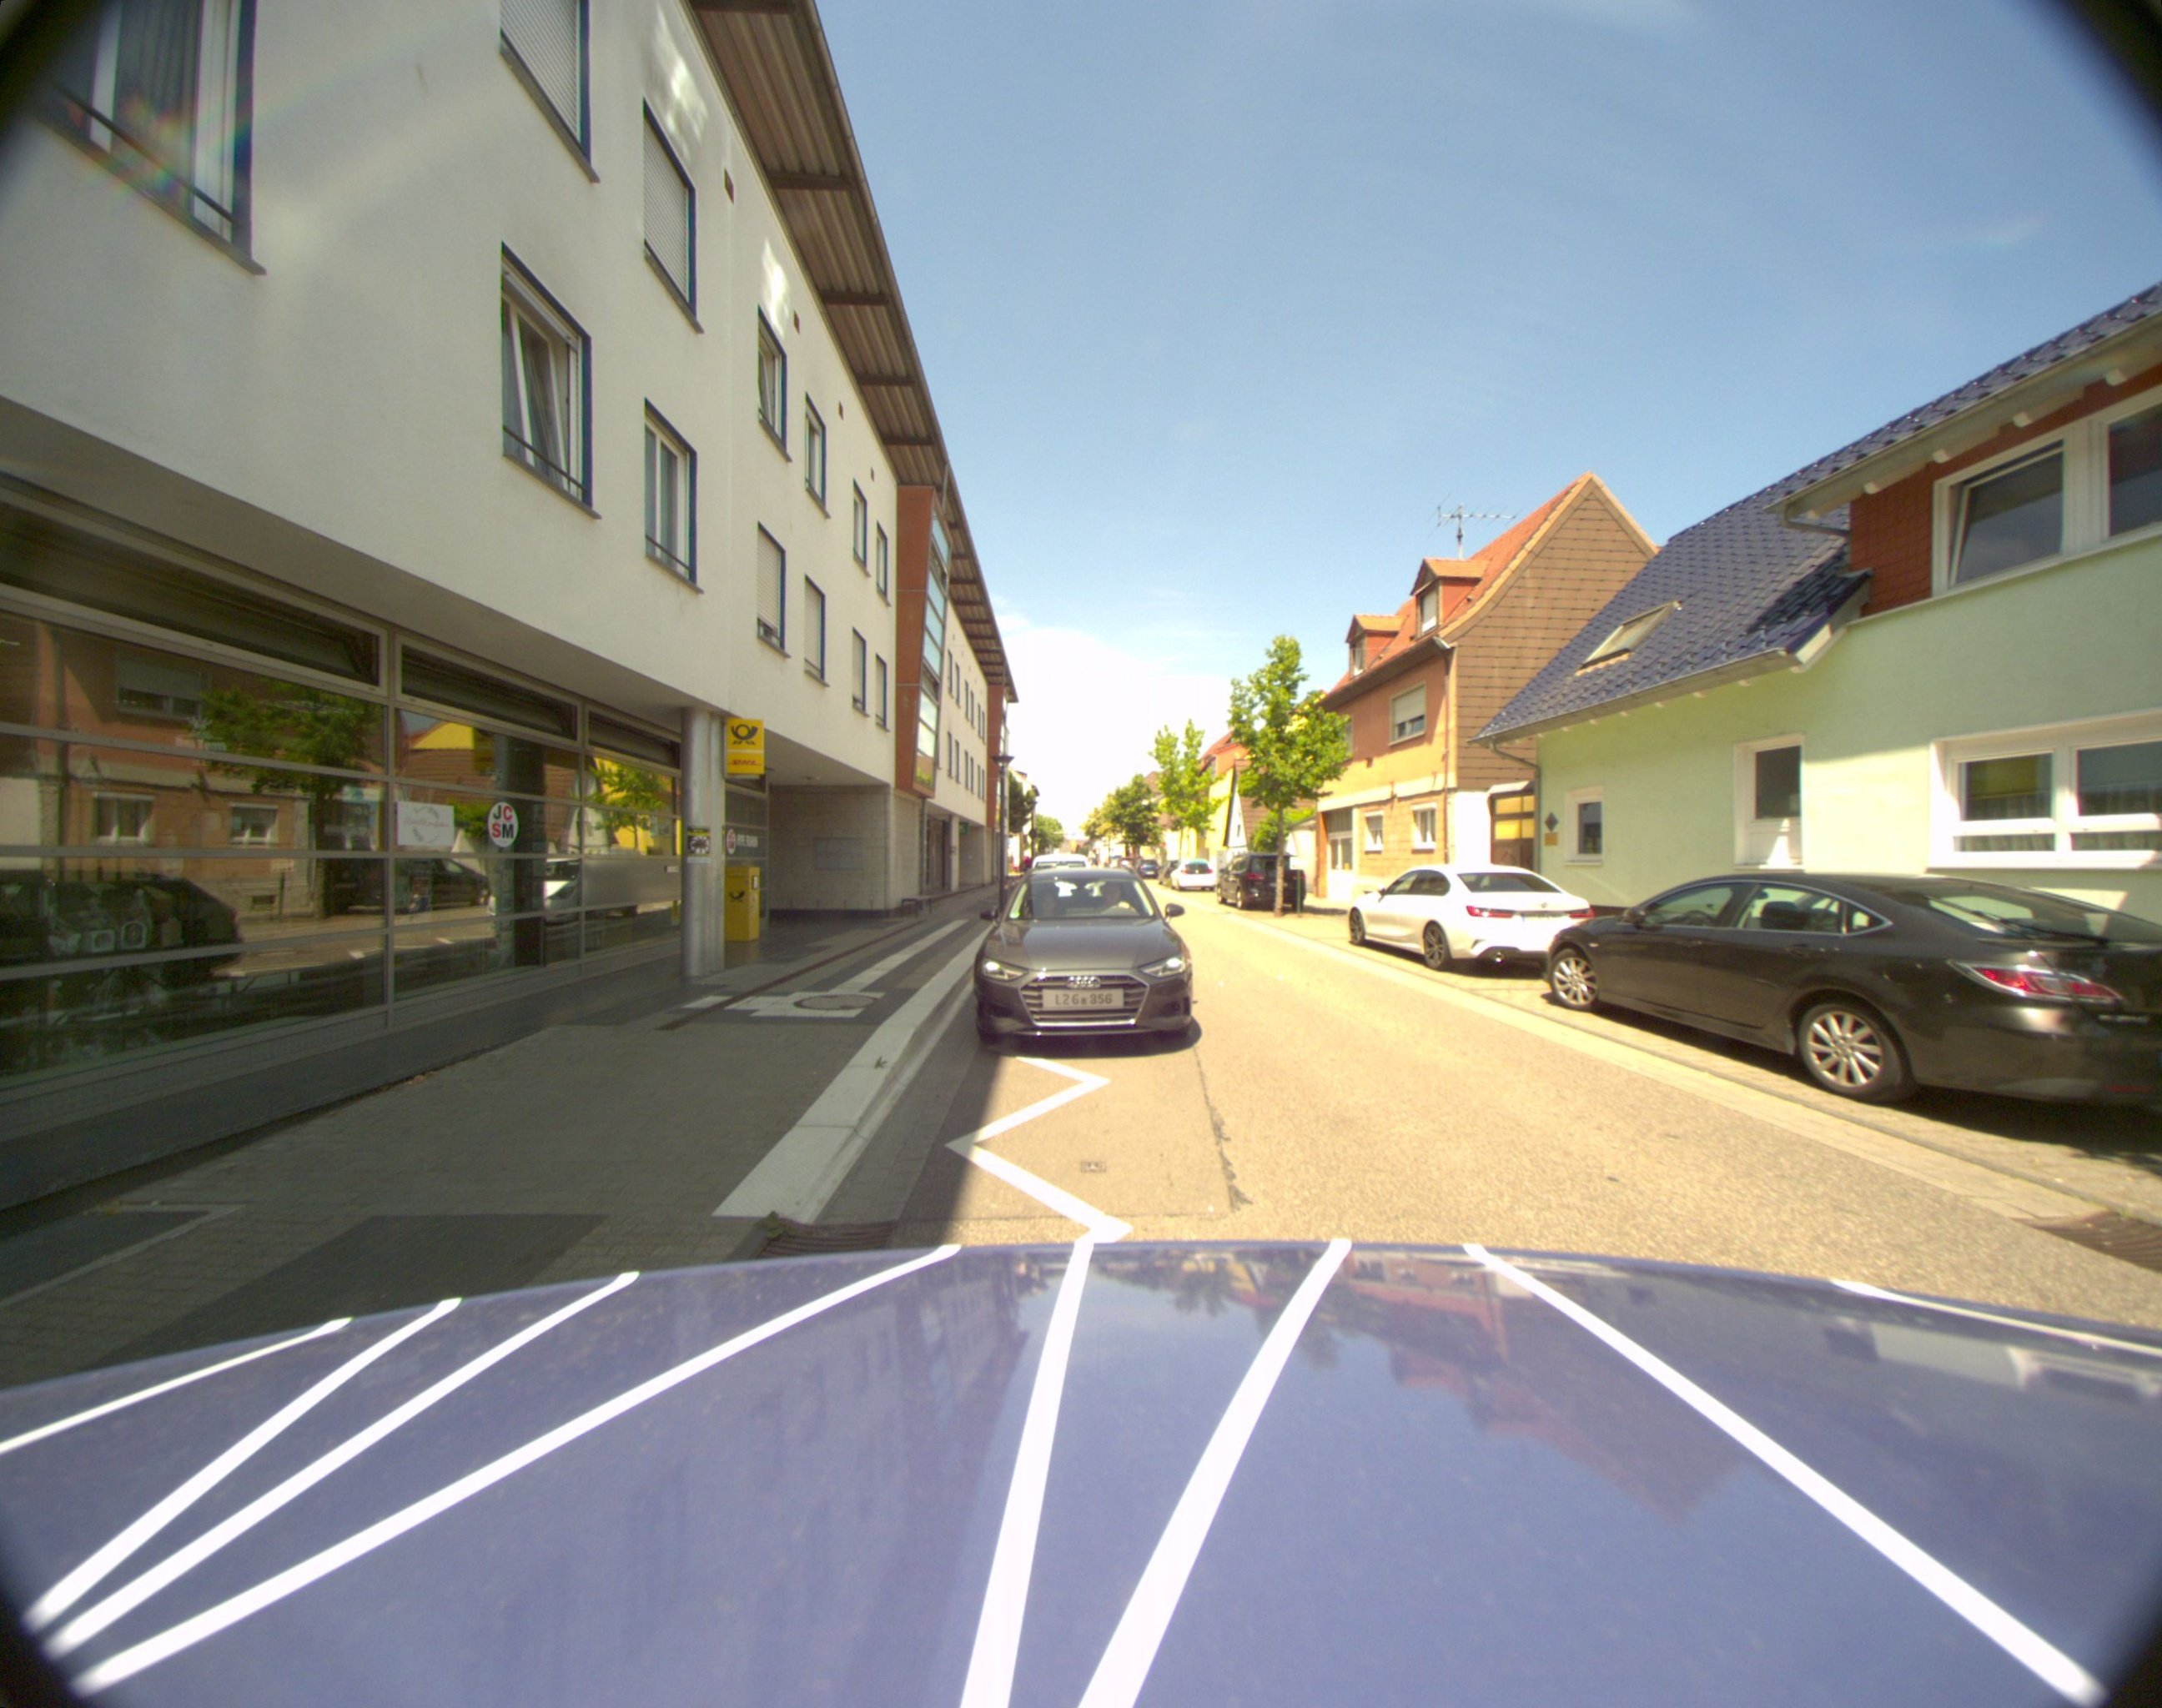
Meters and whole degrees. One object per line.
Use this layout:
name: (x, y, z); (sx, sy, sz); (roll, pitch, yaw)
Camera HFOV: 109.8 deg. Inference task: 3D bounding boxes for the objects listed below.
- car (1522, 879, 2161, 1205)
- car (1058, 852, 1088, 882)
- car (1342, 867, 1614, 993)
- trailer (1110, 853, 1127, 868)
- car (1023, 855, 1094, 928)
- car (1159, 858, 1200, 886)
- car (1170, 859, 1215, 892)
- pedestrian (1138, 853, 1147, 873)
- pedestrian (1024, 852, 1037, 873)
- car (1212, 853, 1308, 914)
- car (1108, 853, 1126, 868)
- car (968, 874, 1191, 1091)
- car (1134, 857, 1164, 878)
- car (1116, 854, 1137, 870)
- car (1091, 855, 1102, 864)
car: (5.618, 0.988, 5.958); (1.665, 1.428, 4.538); (0, 0, 0)
car: (-0.476, 0.710, 42.776); (1.581, 1.620, 4.064); (1, 0, -1)
car: (5.563, 0.956, 11.418); (1.724, 1.428, 4.459); (1, 0, 0)
trailer: (4.258, 0.756, 86.153); (1.493, 1.571, 3.882); (-3, 0, -3)
car: (-0.544, 0.844, 19.074); (1.581, 1.620, 4.064); (1, 0, -1)
car: (5.320, 0.944, 41.420); (1.649, 1.422, 4.098); (1, 0, -1)
car: (5.130, 0.959, 35.276); (1.558, 1.422, 3.409); (0, 0, -1)
pedestrian: (5.033, 0.730, 62.240); (0.631, 1.592, 0.528); (0, 1, -1)
pedestrian: (-3.868, 0.640, 58.432); (0.826, 1.579, 0.919); (3, 0, -1)
car: (5.397, 0.824, 23.467); (1.780, 1.716, 4.519); (0, 0, -1)
car: (4.247, 0.759, 90.525); (1.695, 1.742, 3.999); (-2, 0, -3)
car: (-0.051, 0.988, 7.566); (1.581, 1.424, 4.064); (-2, 0, -1)
car: (4.804, 0.917, 54.207); (1.660, 1.399, 4.157); (0, 0, -1)
car: (4.371, 0.738, 73.789); (1.753, 1.566, 4.157); (0, 0, -1)
car: (2.549, 0.834, 125.607); (1.693, 1.464, 3.999); (0, 0, -1)
